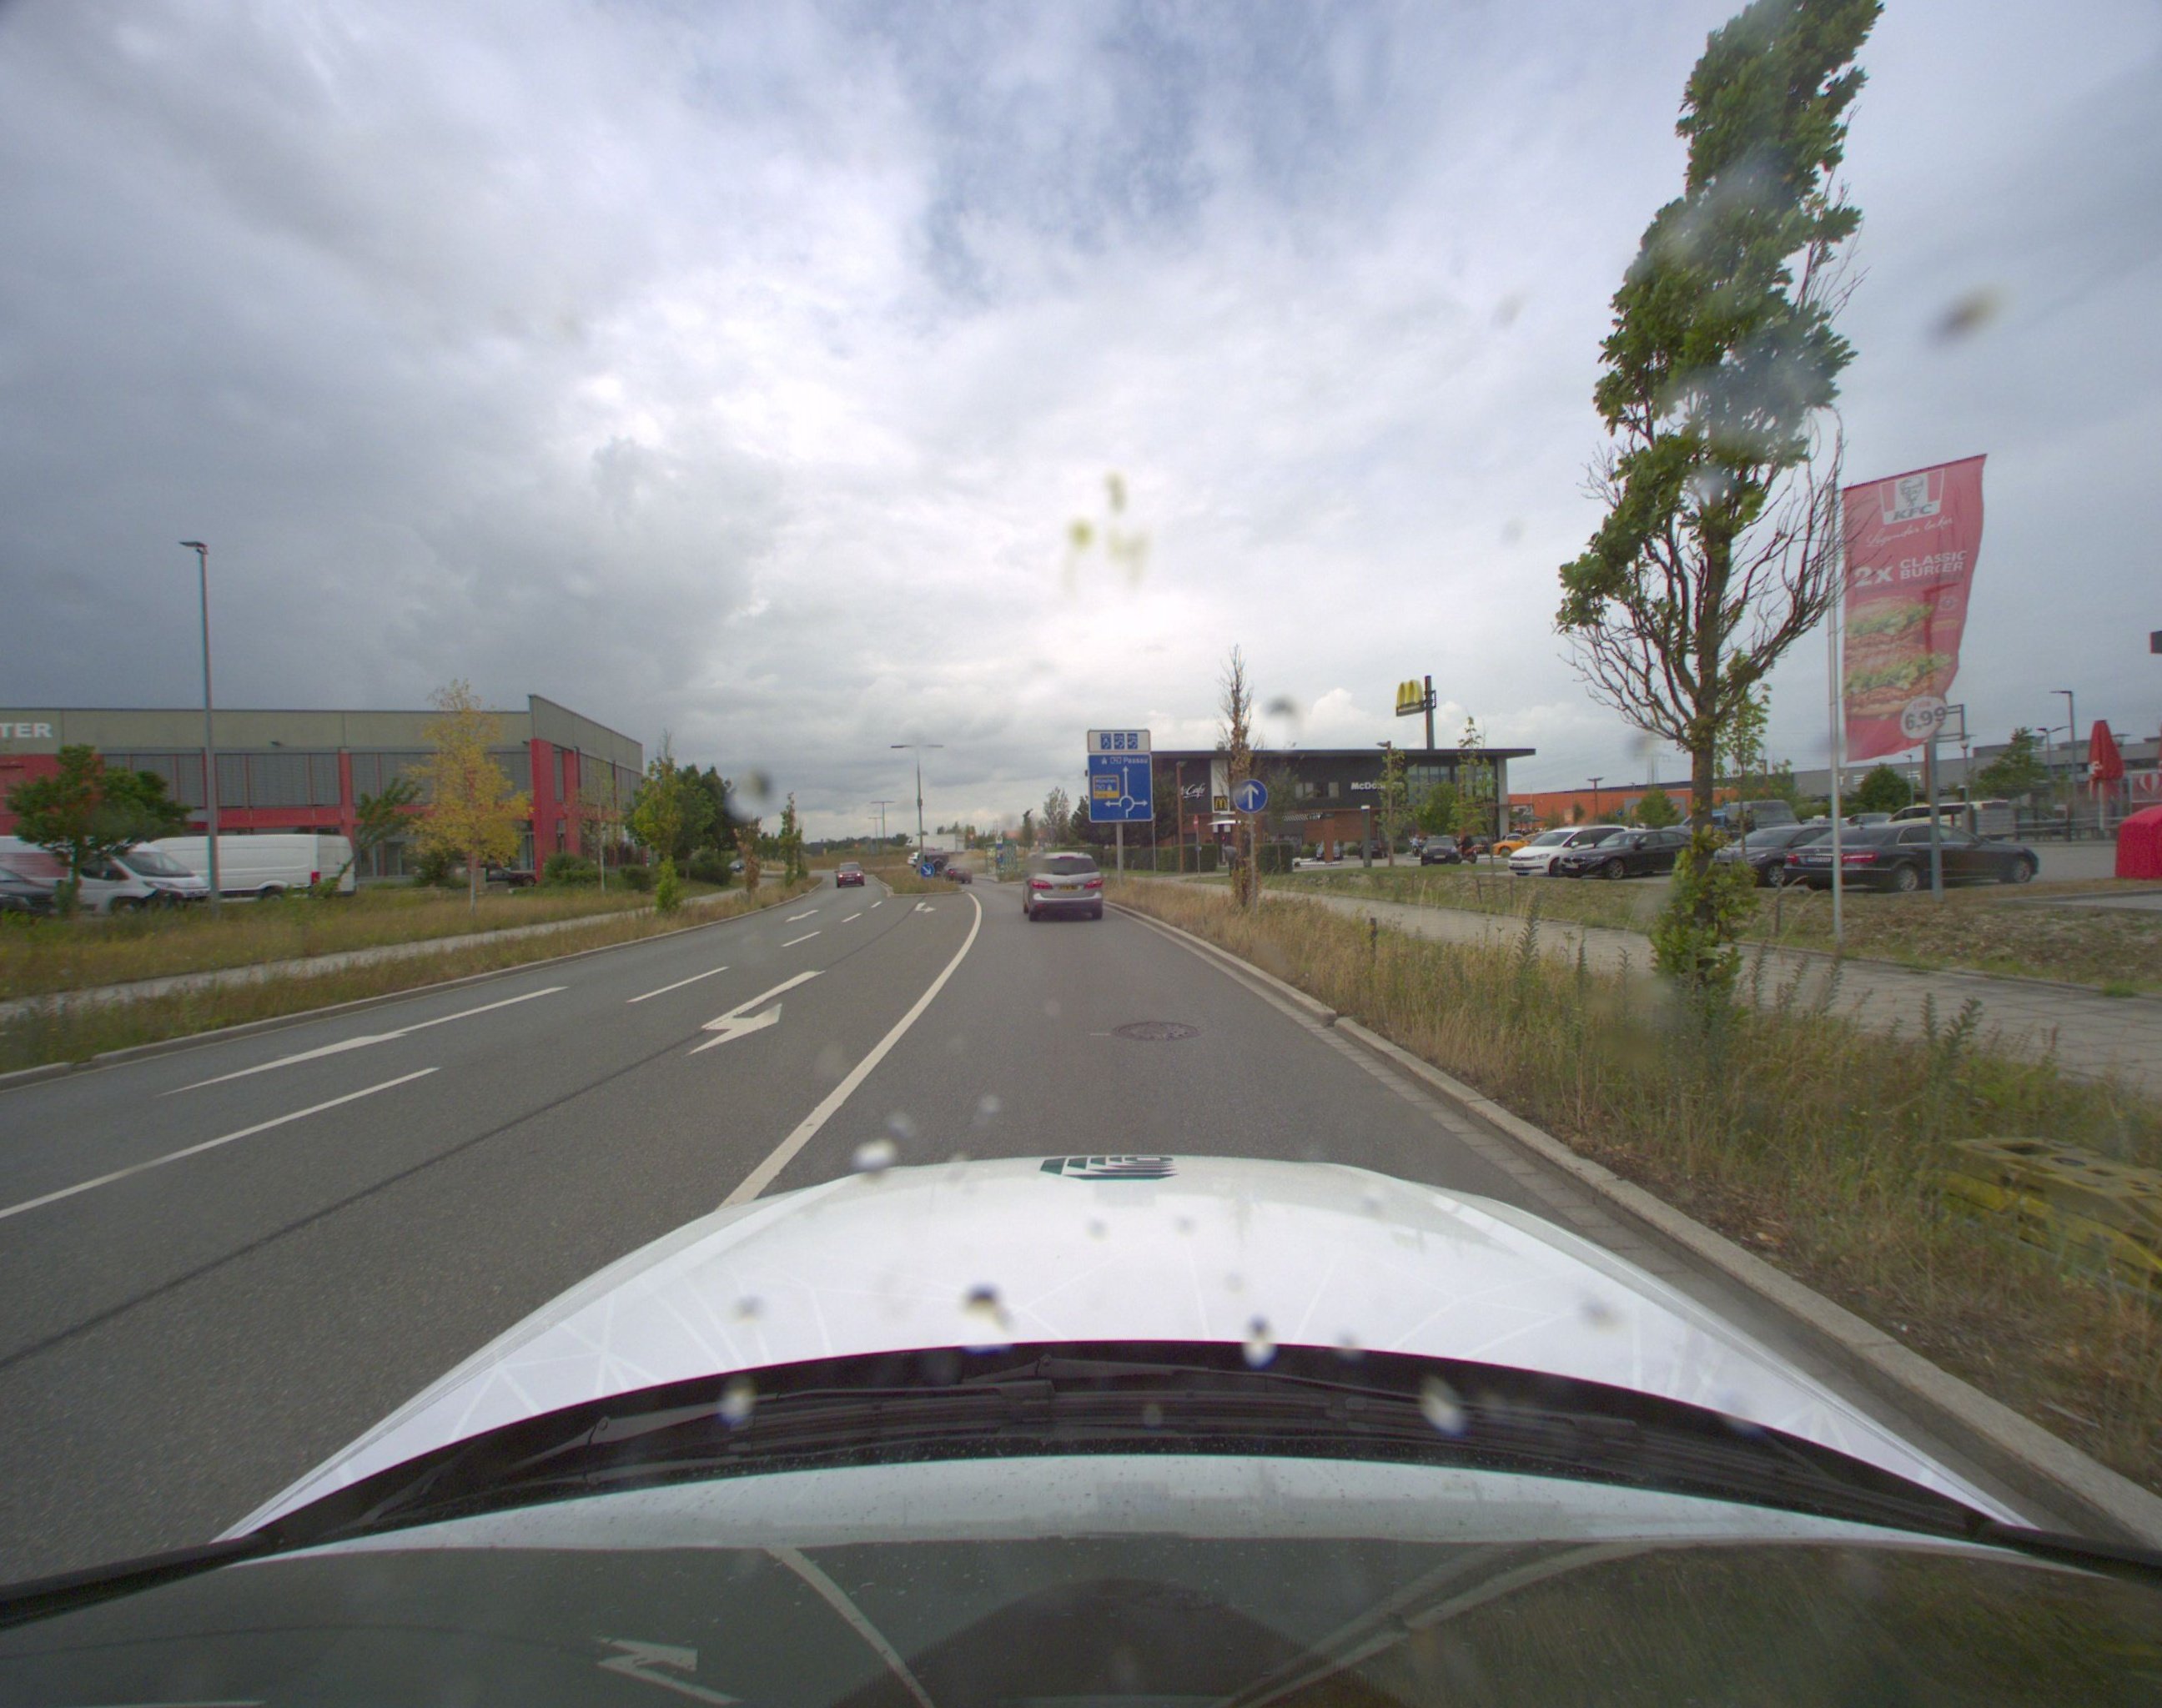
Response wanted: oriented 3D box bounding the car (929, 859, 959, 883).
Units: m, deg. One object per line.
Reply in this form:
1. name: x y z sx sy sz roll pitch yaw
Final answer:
1. car: -11.036 1.321 65.537 2.061 1.826 4.764 -2 0 -13

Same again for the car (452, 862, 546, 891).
1. car: -35.568 1.332 49.839 1.975 1.552 4.413 -2 0 45

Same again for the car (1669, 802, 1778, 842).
1. car: 46.263 -2.251 58.872 5.968 2.528 2.296 -2 1 34

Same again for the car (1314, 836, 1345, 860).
1. car: 19.109 -0.455 62.528 1.976 1.717 4.021 -2 0 21

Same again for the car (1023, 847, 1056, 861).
1. car: -5.849 -0.025 114.721 4.596 1.757 1.996 -2 0 -6

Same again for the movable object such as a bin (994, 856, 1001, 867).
1. movable object such as a bin: -6.180 0.570 60.444 0.457 0.798 0.378 -2 0 -17

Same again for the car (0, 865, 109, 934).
1. car: -27.810 1.189 19.871 4.911 1.616 1.984 -2 0 -16

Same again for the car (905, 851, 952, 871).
1. car: -17.033 0.774 90.966 4.644 2.013 1.978 -2 0 -35

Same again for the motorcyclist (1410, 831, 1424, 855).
1. motorcyclist: 26.265 -0.883 63.633 0.952 1.832 0.850 -2 0 22

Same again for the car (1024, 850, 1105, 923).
1. car: -0.491 0.723 20.200 1.727 1.600 3.800 -1 0 -5

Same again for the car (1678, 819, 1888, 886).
1. car: 17.880 -0.067 20.831 4.085 1.438 1.936 -3 1 -11

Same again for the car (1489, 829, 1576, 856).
1. car: 28.301 -0.716 51.227 4.674 1.443 2.012 -2 0 27

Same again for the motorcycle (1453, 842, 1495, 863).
1. motorcycle: 19.751 -0.083 40.951 0.742 0.985 1.808 -2 0 -25

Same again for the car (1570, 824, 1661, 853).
1. car: 35.003 -1.028 53.481 4.675 1.656 2.012 -2 0 25

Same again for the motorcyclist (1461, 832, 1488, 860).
1. motorcyclist: 19.757 -0.398 40.871 0.783 1.334 0.889 -2 0 -26

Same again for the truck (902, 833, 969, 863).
1. truck: -21.002 -0.880 117.578 9.221 3.906 3.161 -2 0 24

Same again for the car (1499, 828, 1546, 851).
1. car: 36.149 -1.186 66.687 4.020 1.722 1.977 -2 0 -38

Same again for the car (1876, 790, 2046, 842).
1. car: 44.781 -1.841 41.710 2.520 2.351 5.689 -2 1 -1

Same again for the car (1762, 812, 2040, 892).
1. car: 17.864 -0.063 17.852 4.516 1.469 2.026 -3 1 -9

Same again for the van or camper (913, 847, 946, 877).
1. van or camper: -13.468 0.666 72.079 2.308 2.506 5.176 -2 0 -17

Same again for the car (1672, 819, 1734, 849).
1. car: 34.075 -1.094 44.745 1.931 1.443 4.244 -2 0 27

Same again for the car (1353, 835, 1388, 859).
1. car: 22.737 -0.567 63.828 2.096 1.717 4.255 -2 0 25

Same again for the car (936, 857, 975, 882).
1. car: -7.905 0.928 50.978 1.849 1.418 4.201 -2 1 -16

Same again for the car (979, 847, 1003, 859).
1. car: -12.296 -0.128 110.905 2.004 1.515 3.965 -2 0 -26

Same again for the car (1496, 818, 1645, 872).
1. car: 16.937 -0.309 28.227 4.354 1.639 1.928 -3 1 -15

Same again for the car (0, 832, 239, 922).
1. car: -28.302 0.637 22.931 6.076 2.307 2.200 -2 0 -14

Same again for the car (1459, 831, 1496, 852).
1. car: 31.955 -0.984 65.763 1.979 1.581 4.017 -2 0 15

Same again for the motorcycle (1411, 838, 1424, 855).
1. motorcycle: 26.277 -0.586 63.619 0.849 1.244 1.977 -2 0 22

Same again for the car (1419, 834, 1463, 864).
1. car: 17.438 -0.252 39.500 1.795 1.313 3.871 -2 1 24

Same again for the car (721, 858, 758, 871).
1. car: -42.473 1.297 101.337 1.826 1.407 4.021 -4 1 20

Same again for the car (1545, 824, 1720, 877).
1. car: 17.391 -0.126 25.754 4.471 1.436 2.065 -3 1 -12

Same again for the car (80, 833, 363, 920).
1. car: -29.114 0.703 27.876 6.414 2.598 2.234 -2 0 -13

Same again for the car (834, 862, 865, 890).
1. car: -15.832 1.461 55.554 1.803 1.669 4.301 -5 1 -17
